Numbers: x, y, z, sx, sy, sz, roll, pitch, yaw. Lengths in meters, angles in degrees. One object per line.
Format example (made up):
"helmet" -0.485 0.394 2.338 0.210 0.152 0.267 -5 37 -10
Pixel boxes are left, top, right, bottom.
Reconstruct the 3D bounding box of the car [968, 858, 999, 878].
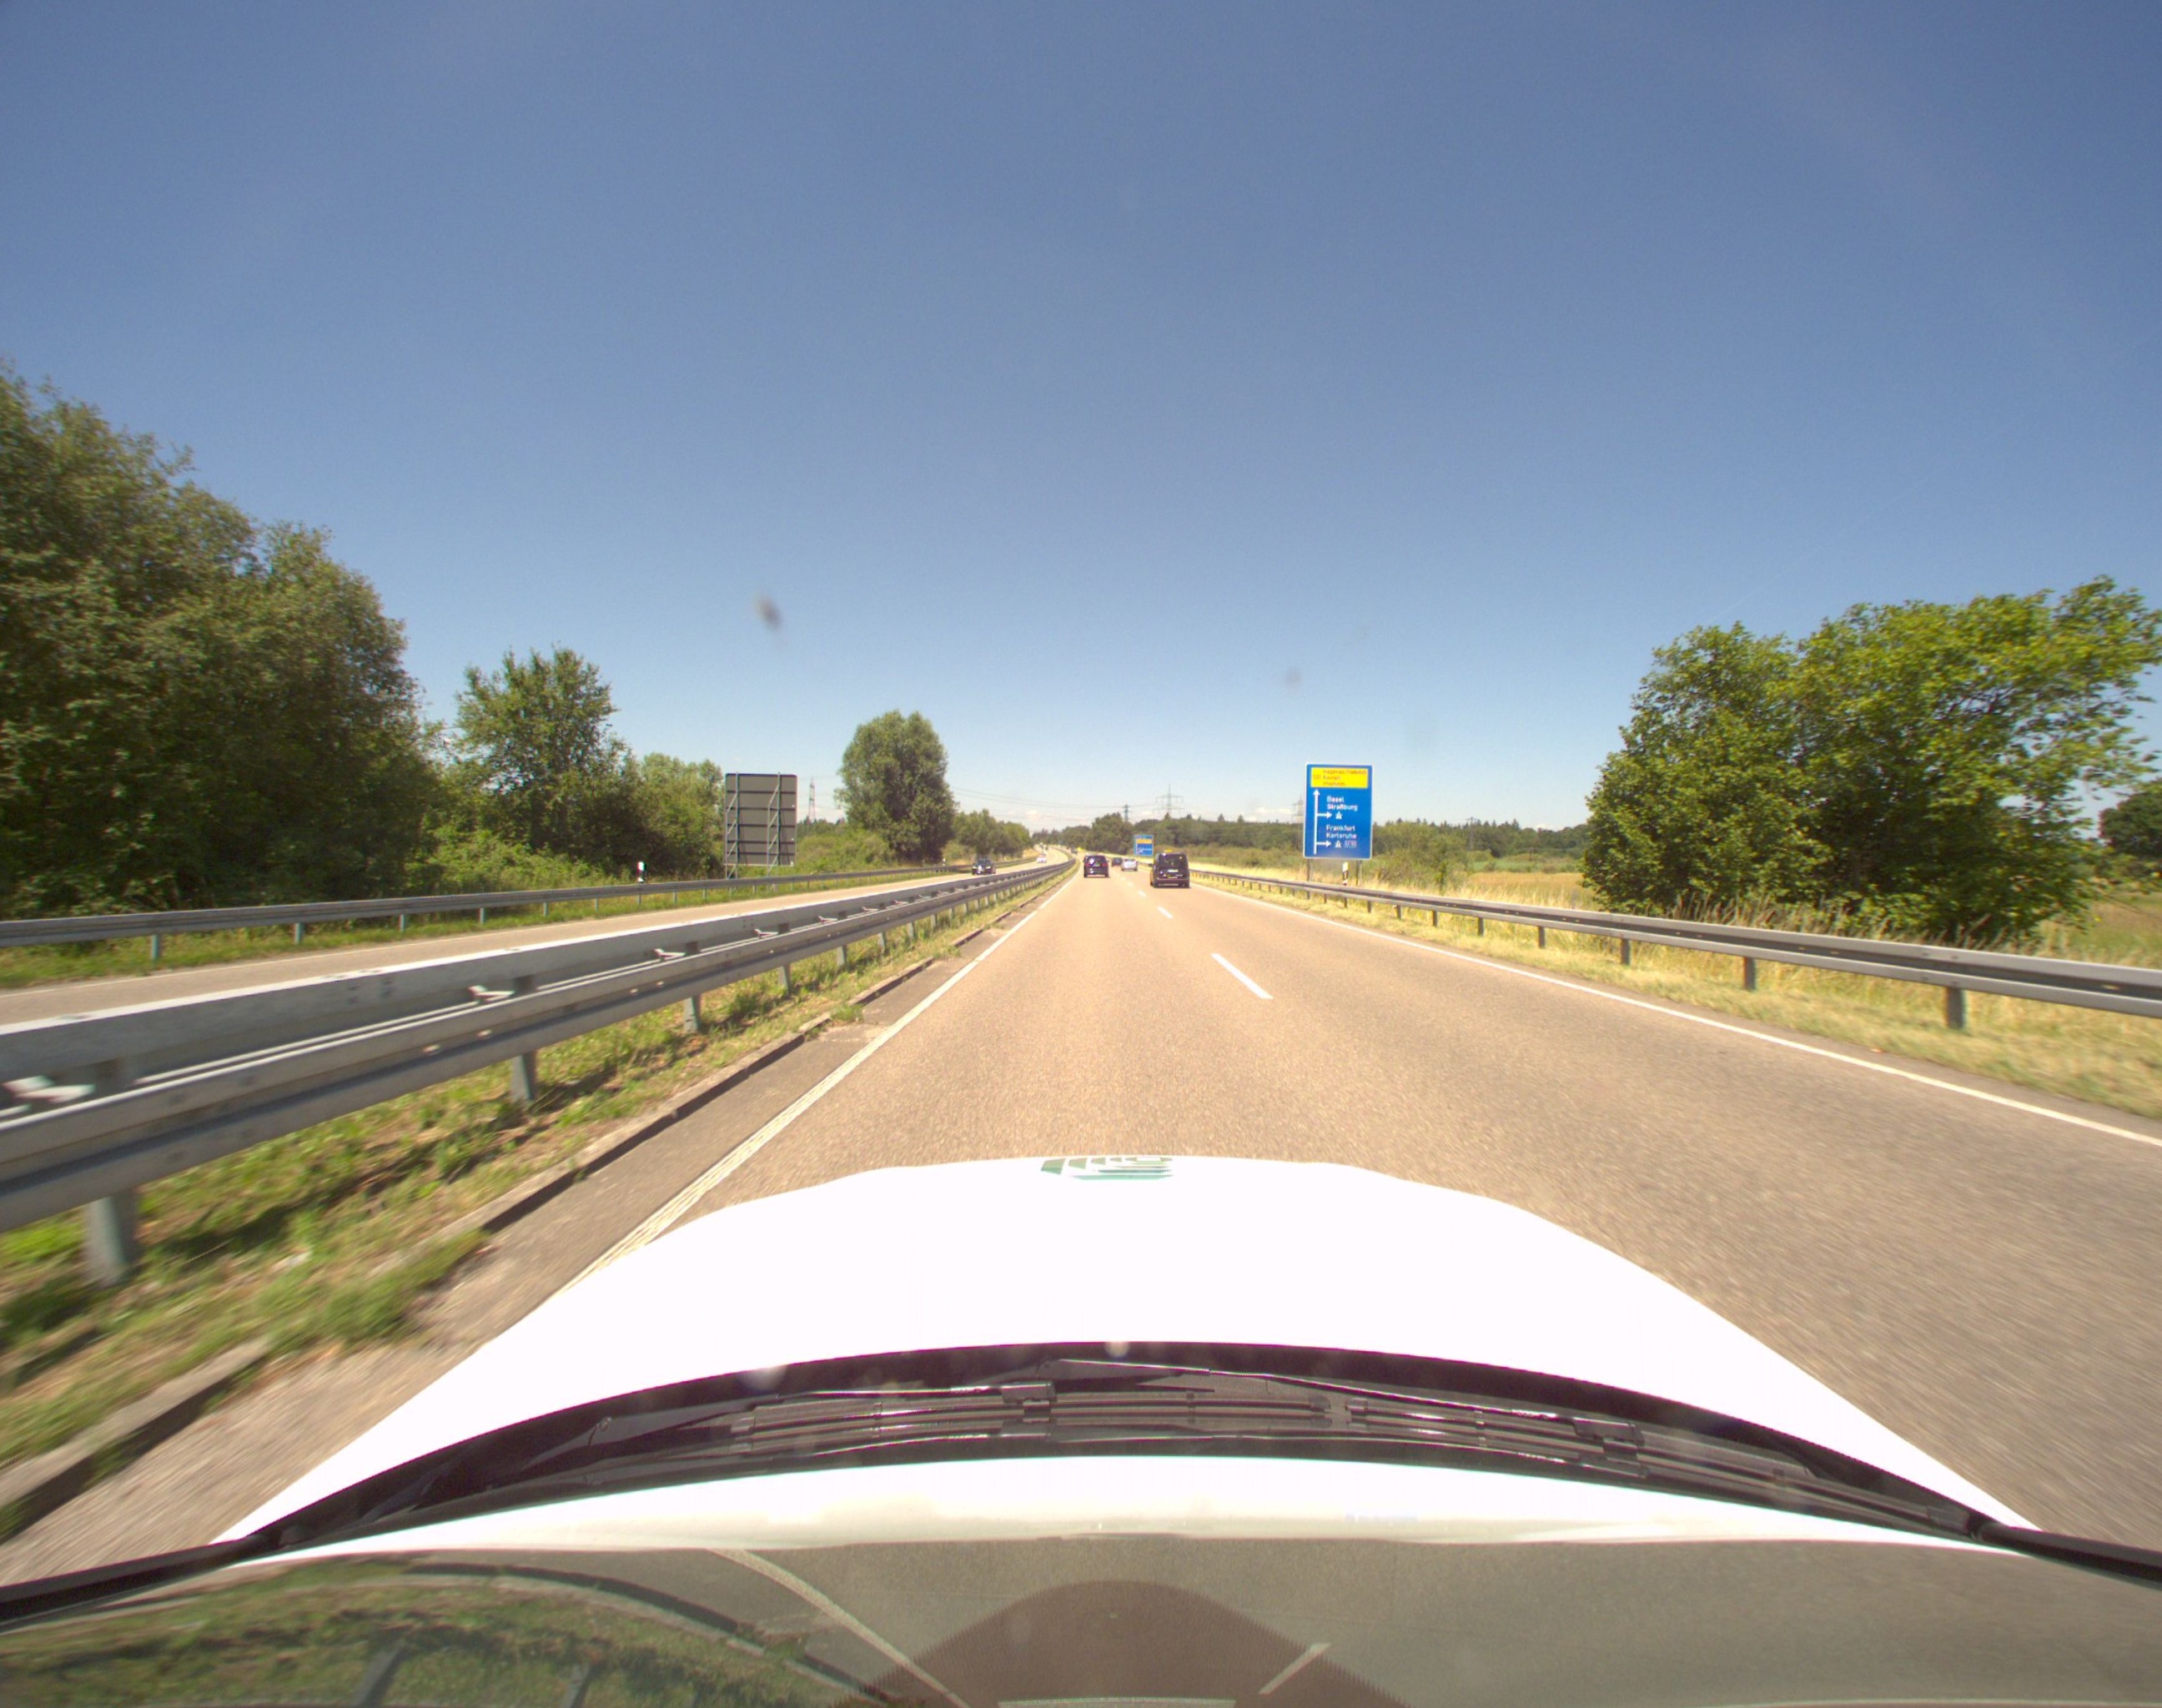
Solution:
"car" -8.715 1.238 72.959 1.986 1.637 4.875 3 0 1

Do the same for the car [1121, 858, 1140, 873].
"car" 5.420 1.229 89.638 1.773 1.479 4.314 2 0 0

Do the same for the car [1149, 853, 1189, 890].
"car" 4.543 0.862 42.455 1.773 1.817 4.214 0 0 2

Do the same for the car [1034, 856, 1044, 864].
"car" -8.637 1.280 168.991 1.821 1.497 4.102 1 0 0

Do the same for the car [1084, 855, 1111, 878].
"car" 1.267 0.978 63.069 1.987 1.654 3.999 2 0 0

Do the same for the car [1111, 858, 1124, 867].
"car" 5.364 1.247 120.835 1.813 1.414 4.001 0 0 1

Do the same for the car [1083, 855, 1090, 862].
"car" 1.283 1.012 181.097 1.510 1.475 3.066 3 0 0
